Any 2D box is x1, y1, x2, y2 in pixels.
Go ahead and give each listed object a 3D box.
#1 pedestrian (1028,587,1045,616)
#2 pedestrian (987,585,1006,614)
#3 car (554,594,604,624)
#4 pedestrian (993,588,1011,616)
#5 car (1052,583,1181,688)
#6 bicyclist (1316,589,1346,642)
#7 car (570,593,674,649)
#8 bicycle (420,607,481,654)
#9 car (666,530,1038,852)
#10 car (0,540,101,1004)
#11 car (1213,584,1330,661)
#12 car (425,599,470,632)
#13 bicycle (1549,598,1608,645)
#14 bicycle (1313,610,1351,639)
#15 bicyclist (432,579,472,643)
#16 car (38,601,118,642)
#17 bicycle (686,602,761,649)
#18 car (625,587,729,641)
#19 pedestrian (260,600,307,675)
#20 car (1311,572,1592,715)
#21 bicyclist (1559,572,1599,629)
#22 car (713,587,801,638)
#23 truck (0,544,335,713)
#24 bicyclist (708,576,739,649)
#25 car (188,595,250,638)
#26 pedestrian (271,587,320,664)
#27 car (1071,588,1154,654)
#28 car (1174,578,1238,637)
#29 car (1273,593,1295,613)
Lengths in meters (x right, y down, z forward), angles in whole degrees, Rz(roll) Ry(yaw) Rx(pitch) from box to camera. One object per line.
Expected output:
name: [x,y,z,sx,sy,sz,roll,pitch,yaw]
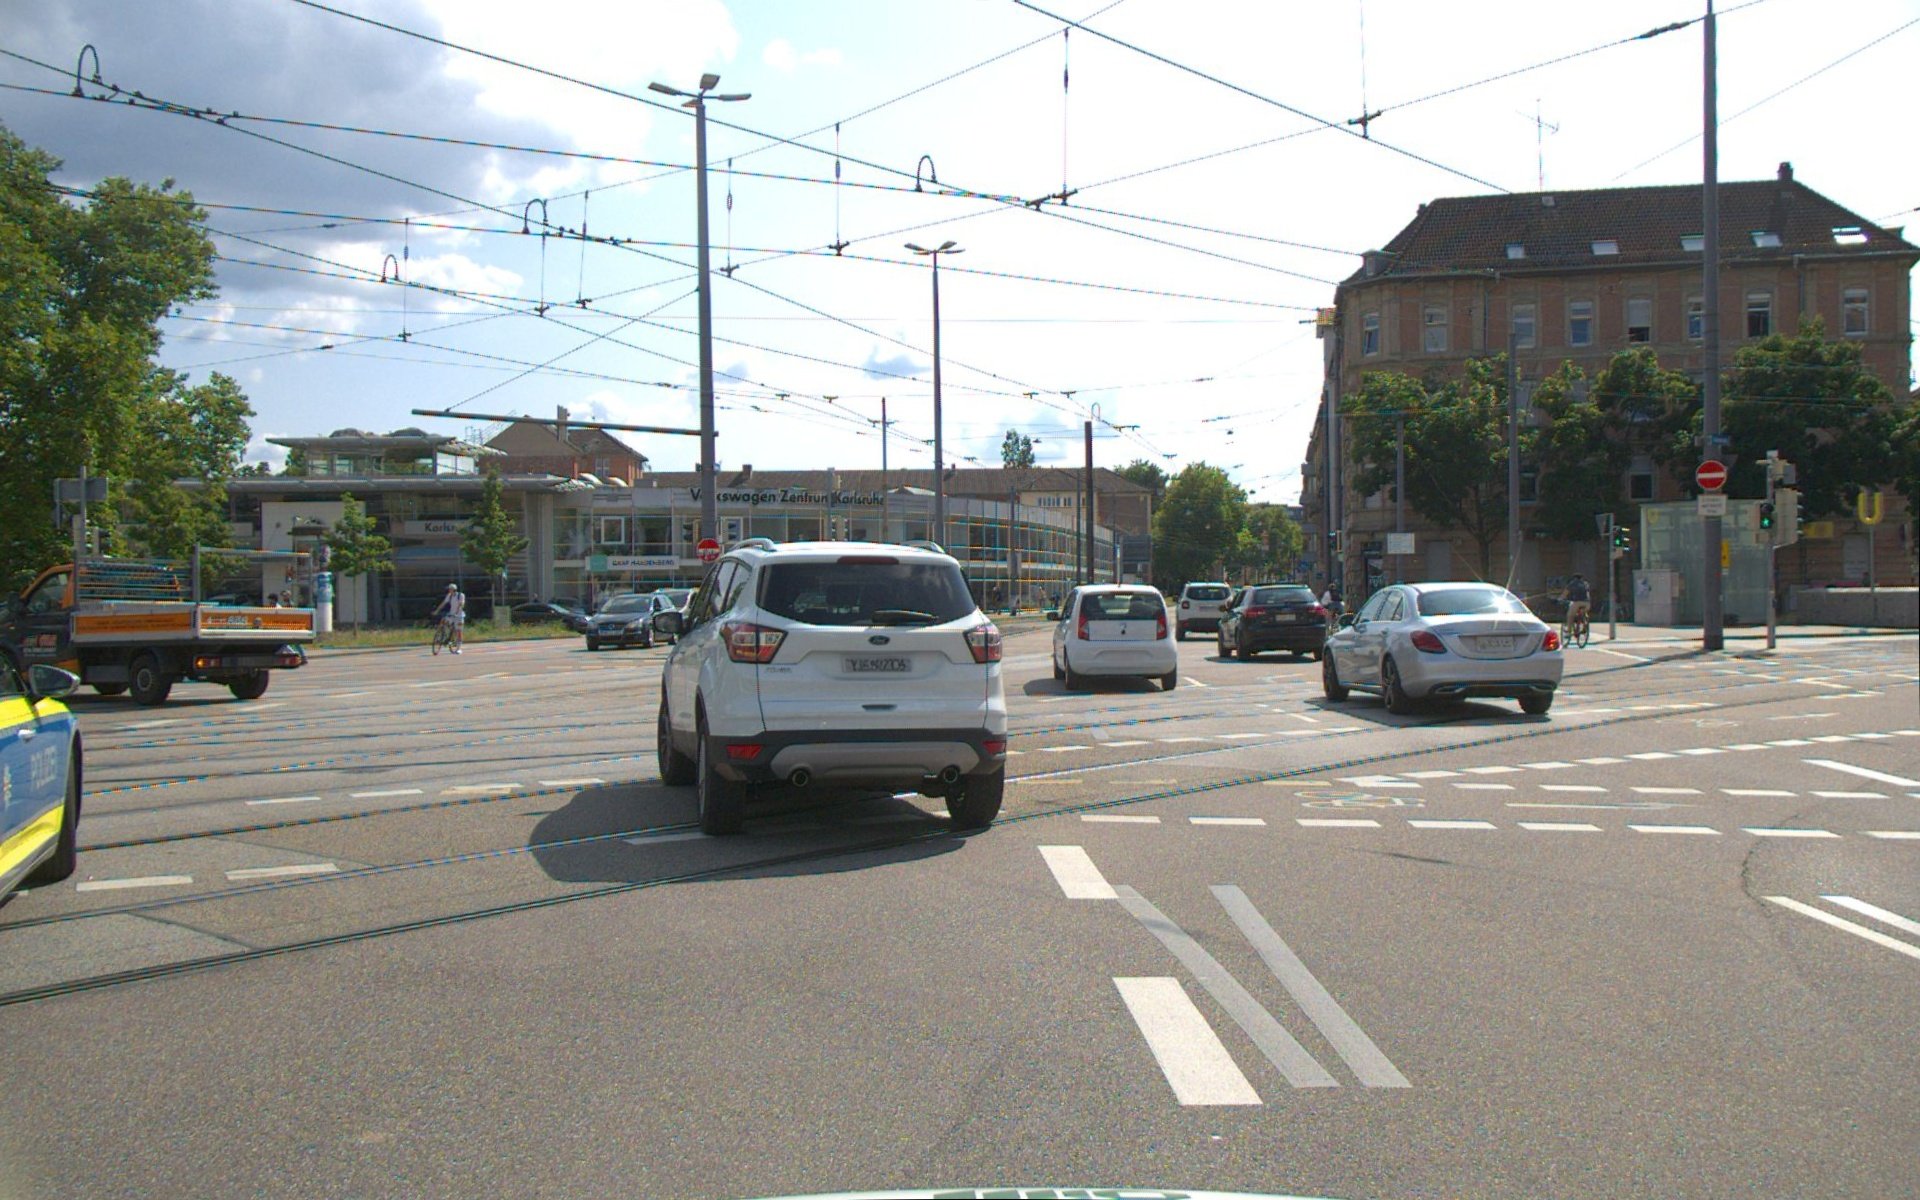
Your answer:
pedestrian: [5.082,0.095,110.150,0.858,1.956,0.875,1,-1,25]
pedestrian: [2.325,-0.031,104.529,0.858,1.767,0.875,1,-1,28]
car: [-20.944,0.495,91.039,1.781,1.560,3.916,-2,-1,0]
pedestrian: [2.720,0.104,106.295,0.858,1.767,0.875,1,-1,28]
car: [2.300,0.480,25.099,1.615,1.446,4.000,-1,0,1]
bicyclist: [10.496,0.433,46.807,0.596,1.476,0.773,-1,0,-6]
car: [-9.072,0.547,44.703,1.700,1.397,3.644,-2,0,6]
bicycle: [-13.736,0.810,44.643,0.743,1.213,2.152,-1,0,7]
car: [-0.897,0.467,10.829,1.796,1.693,3.941,-1,0,-14]
car: [-4.547,0.582,6.294,1.854,1.595,4.583,1,0,-23]
car: [6.067,0.408,32.622,1.663,1.396,4.134,-1,0,2]
car: [-26.168,0.815,84.561,1.786,1.560,3.905,-2,-1,-12]
bicycle: [13.663,0.457,36.600,0.829,0.987,1.962,-1,0,9]
bicycle: [10.522,0.679,46.819,0.573,0.789,1.619,-1,0,-6]
bicyclist: [-13.731,0.295,44.684,0.743,1.712,0.761,-1,0,7]
car: [-45.087,1.104,84.664,1.931,1.971,5.059,-2,-1,-8]
bicycle: [-5.783,0.623,40.482,1.742,1.145,0.640,0,0,-1]
car: [-8.973,0.405,52.735,1.700,1.600,4.003,-2,0,15]
pedestrian: [-16.203,0.889,39.610,0.916,1.774,0.582,2,-1,-36]
car: [5.630,0.453,19.619,1.891,1.481,4.758,0,0,0]
bicyclist: [13.660,0.009,36.503,0.621,1.241,0.924,-1,0,7]
car: [-6.380,0.370,52.362,1.653,1.487,3.972,-2,0,10]
truck: [-11.947,0.397,23.907,5.723,2.193,2.342,-1,0,30]
bicyclist: [-5.793,0.306,40.512,0.646,1.768,0.640,0,0,0]
car: [-37.826,0.872,84.576,1.959,2.049,4.218,-2,-1,-12]
pedestrian: [-15.612,0.599,38.867,0.916,1.774,0.582,2,-1,-36]
car: [3.479,0.462,38.240,1.811,1.444,3.680,0,0,4]
car: [7.341,0.227,49.545,1.797,1.681,4.003,0,-1,7]
car: [27.284,0.269,139.200,1.797,1.681,4.003,0,-1,12]
